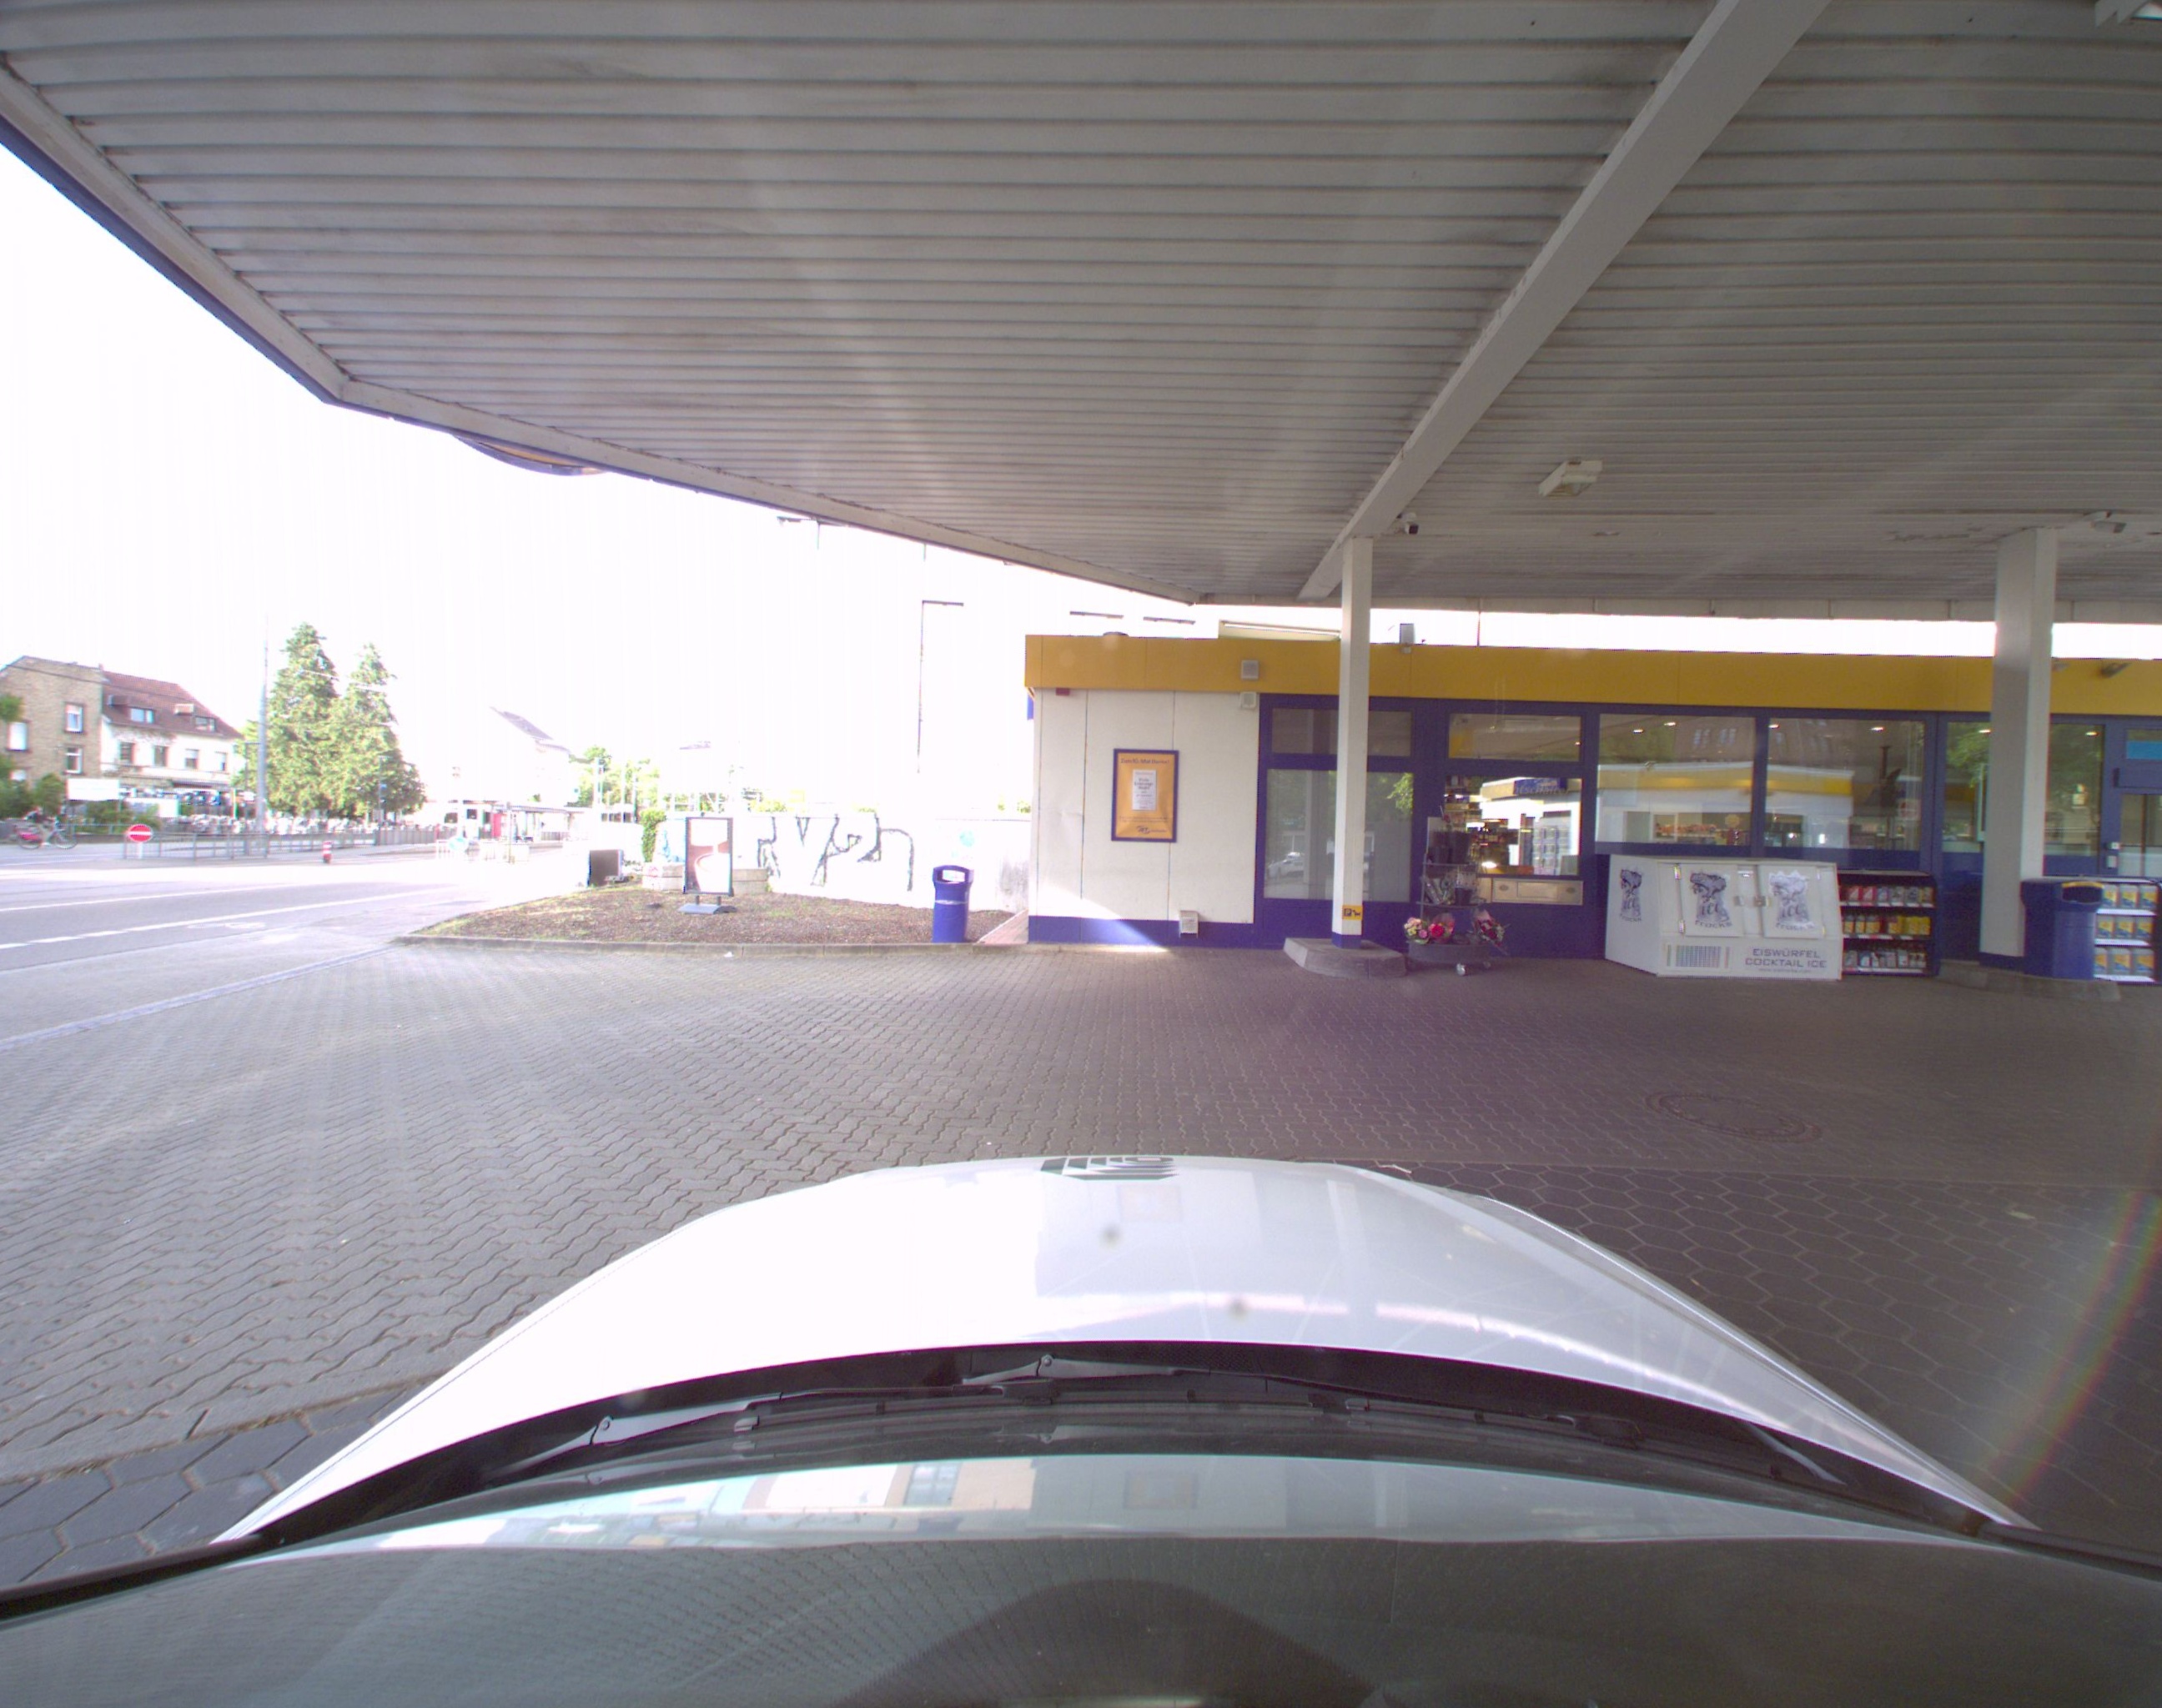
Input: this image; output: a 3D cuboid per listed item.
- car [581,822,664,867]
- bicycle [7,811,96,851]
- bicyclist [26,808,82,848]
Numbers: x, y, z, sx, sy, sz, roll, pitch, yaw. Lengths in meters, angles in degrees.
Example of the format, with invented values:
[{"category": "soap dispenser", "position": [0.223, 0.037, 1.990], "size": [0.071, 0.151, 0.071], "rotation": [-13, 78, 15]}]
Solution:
[{"category": "car", "position": [-21.021, -0.446, 37.535], "size": [1.963, 1.889, 4.395], "rotation": [1, 0, -11]}, {"category": "bicycle", "position": [-41.234, -0.900, 32.649], "size": [0.781, 1.492, 1.998], "rotation": [4, 0, 12]}, {"category": "bicyclist", "position": [-41.217, -1.034, 32.699], "size": [0.781, 1.492, 1.099], "rotation": [4, 0, 11]}]
